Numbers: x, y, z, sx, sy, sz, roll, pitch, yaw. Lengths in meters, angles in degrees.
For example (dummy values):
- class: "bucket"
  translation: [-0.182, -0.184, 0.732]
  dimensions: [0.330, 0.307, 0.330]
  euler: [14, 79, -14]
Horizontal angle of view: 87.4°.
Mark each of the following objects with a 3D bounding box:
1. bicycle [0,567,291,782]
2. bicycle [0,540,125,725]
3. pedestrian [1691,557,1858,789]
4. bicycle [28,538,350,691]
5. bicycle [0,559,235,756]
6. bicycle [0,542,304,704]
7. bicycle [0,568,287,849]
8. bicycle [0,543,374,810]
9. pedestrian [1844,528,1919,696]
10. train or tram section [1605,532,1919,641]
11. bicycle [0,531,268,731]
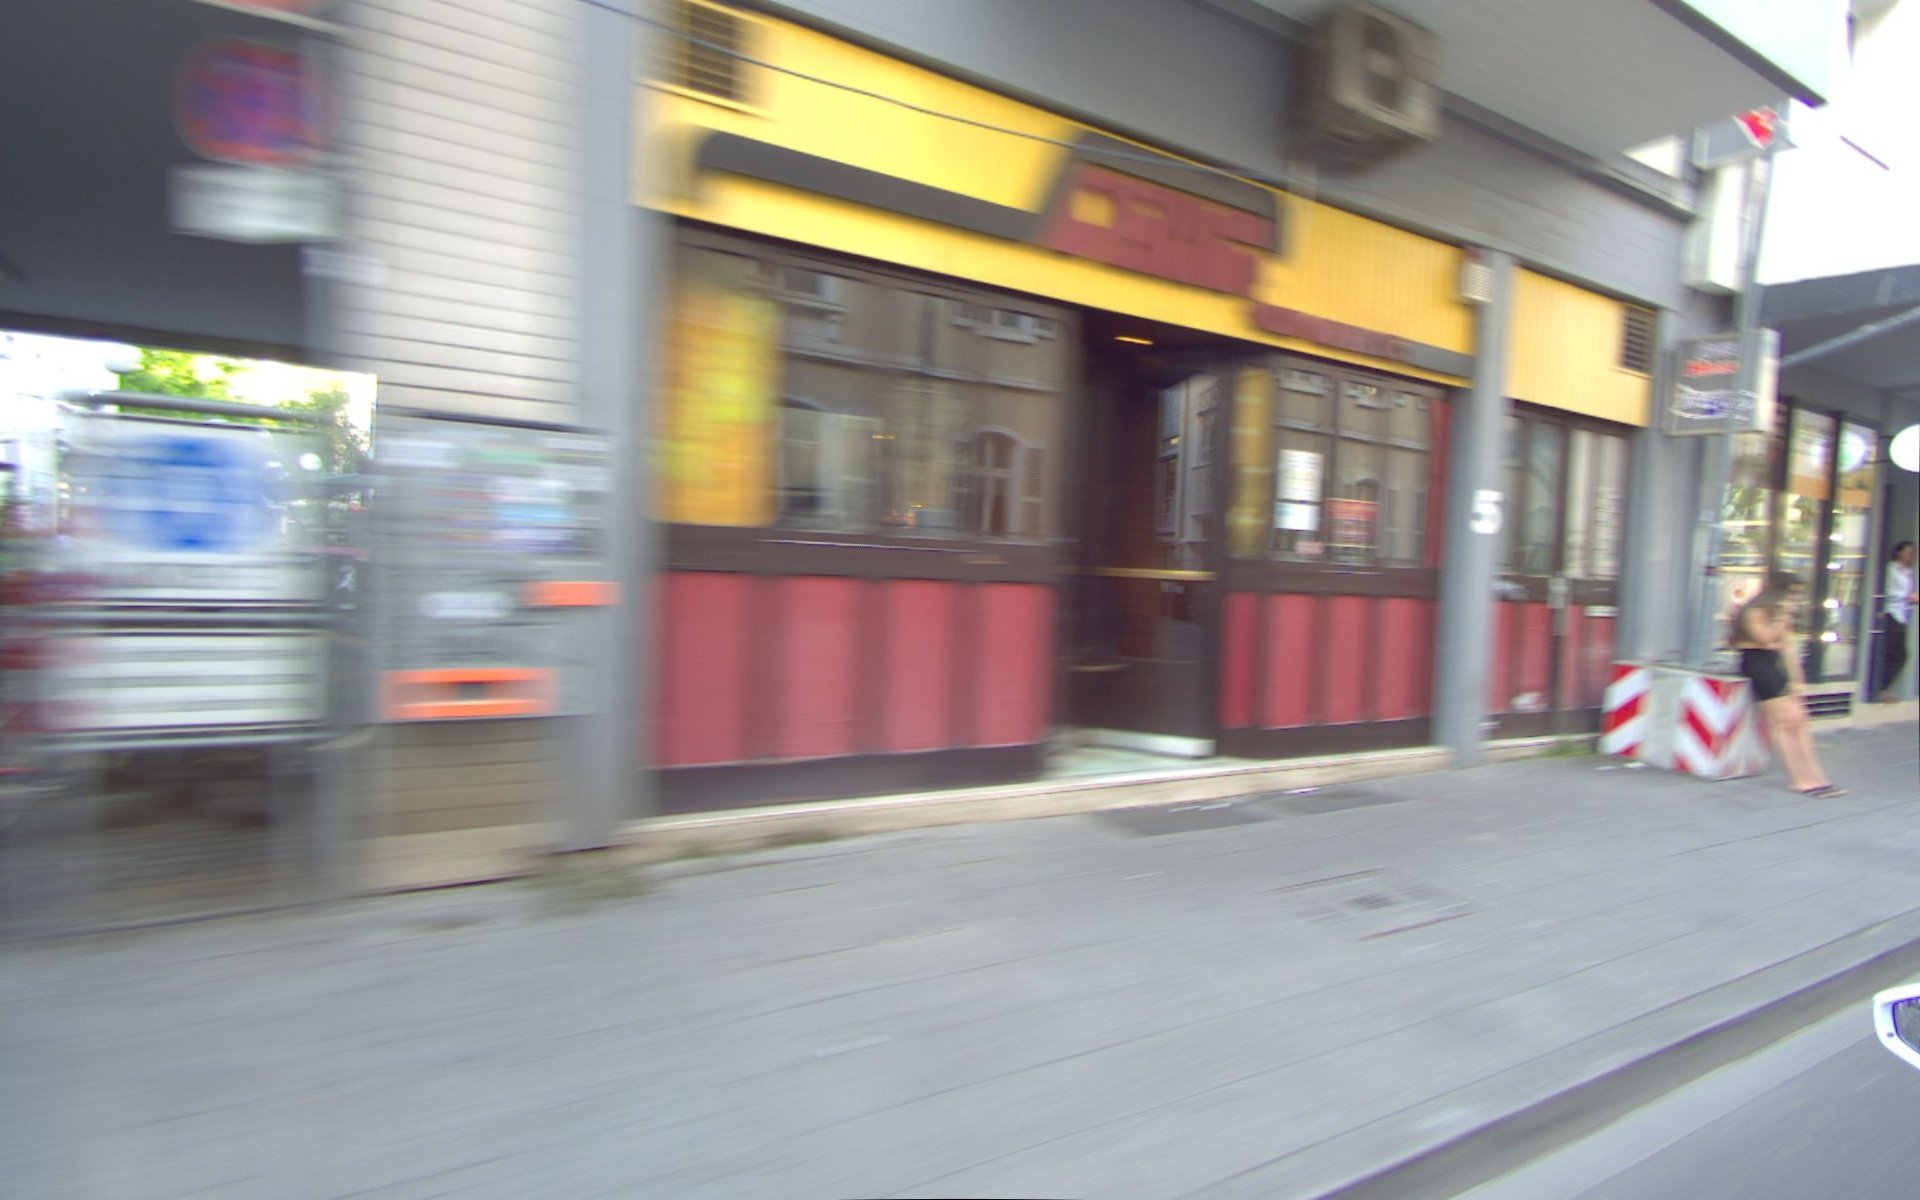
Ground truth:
- class: "bicycle"
  translation: [-4.512, 0.362, 5.184]
  dimensions: [1.730, 1.031, 0.425]
  euler: [1, 2, -31]
- class: "bicycle"
  translation: [-6.234, 0.193, 6.198]
  dimensions: [1.641, 1.139, 0.423]
  euler: [1, 1, -43]
- class: "pedestrian"
  translation: [6.035, 0.505, 7.463]
  dimensions: [0.607, 1.599, 0.704]
  euler: [1, 4, -34]
- class: "bicycle"
  translation: [-5.651, 0.107, 7.493]
  dimensions: [1.856, 1.031, 0.424]
  euler: [1, 1, -34]
- class: "bicycle"
  translation: [-5.046, 0.302, 5.559]
  dimensions: [1.634, 1.031, 0.449]
  euler: [1, 3, -31]
- class: "bicycle"
  translation: [-5.589, 0.157, 7.010]
  dimensions: [1.632, 1.042, 0.425]
  euler: [1, 1, -27]
- class: "bicycle"
  translation: [-3.633, 0.415, 4.097]
  dimensions: [1.448, 1.053, 0.440]
  euler: [1, 4, -32]
- class: "bicycle"
  translation: [-3.822, 0.333, 4.777]
  dimensions: [1.771, 1.154, 0.425]
  euler: [1, 3, -31]
- class: "pedestrian"
  translation: [10.504, 0.127, 11.365]
  dimensions: [0.606, 1.835, 0.541]
  euler: [1, 1, -31]
- class: "train or tram section"
  translation: [30.490, -0.583, 37.290]
  dimensions: [2.978, 3.571, 10.754]
  euler: [2, 2, -30]
- class: "bicycle"
  translation: [-5.406, 0.185, 6.393]
  dimensions: [1.636, 1.176, 0.424]
  euler: [1, 4, -35]
